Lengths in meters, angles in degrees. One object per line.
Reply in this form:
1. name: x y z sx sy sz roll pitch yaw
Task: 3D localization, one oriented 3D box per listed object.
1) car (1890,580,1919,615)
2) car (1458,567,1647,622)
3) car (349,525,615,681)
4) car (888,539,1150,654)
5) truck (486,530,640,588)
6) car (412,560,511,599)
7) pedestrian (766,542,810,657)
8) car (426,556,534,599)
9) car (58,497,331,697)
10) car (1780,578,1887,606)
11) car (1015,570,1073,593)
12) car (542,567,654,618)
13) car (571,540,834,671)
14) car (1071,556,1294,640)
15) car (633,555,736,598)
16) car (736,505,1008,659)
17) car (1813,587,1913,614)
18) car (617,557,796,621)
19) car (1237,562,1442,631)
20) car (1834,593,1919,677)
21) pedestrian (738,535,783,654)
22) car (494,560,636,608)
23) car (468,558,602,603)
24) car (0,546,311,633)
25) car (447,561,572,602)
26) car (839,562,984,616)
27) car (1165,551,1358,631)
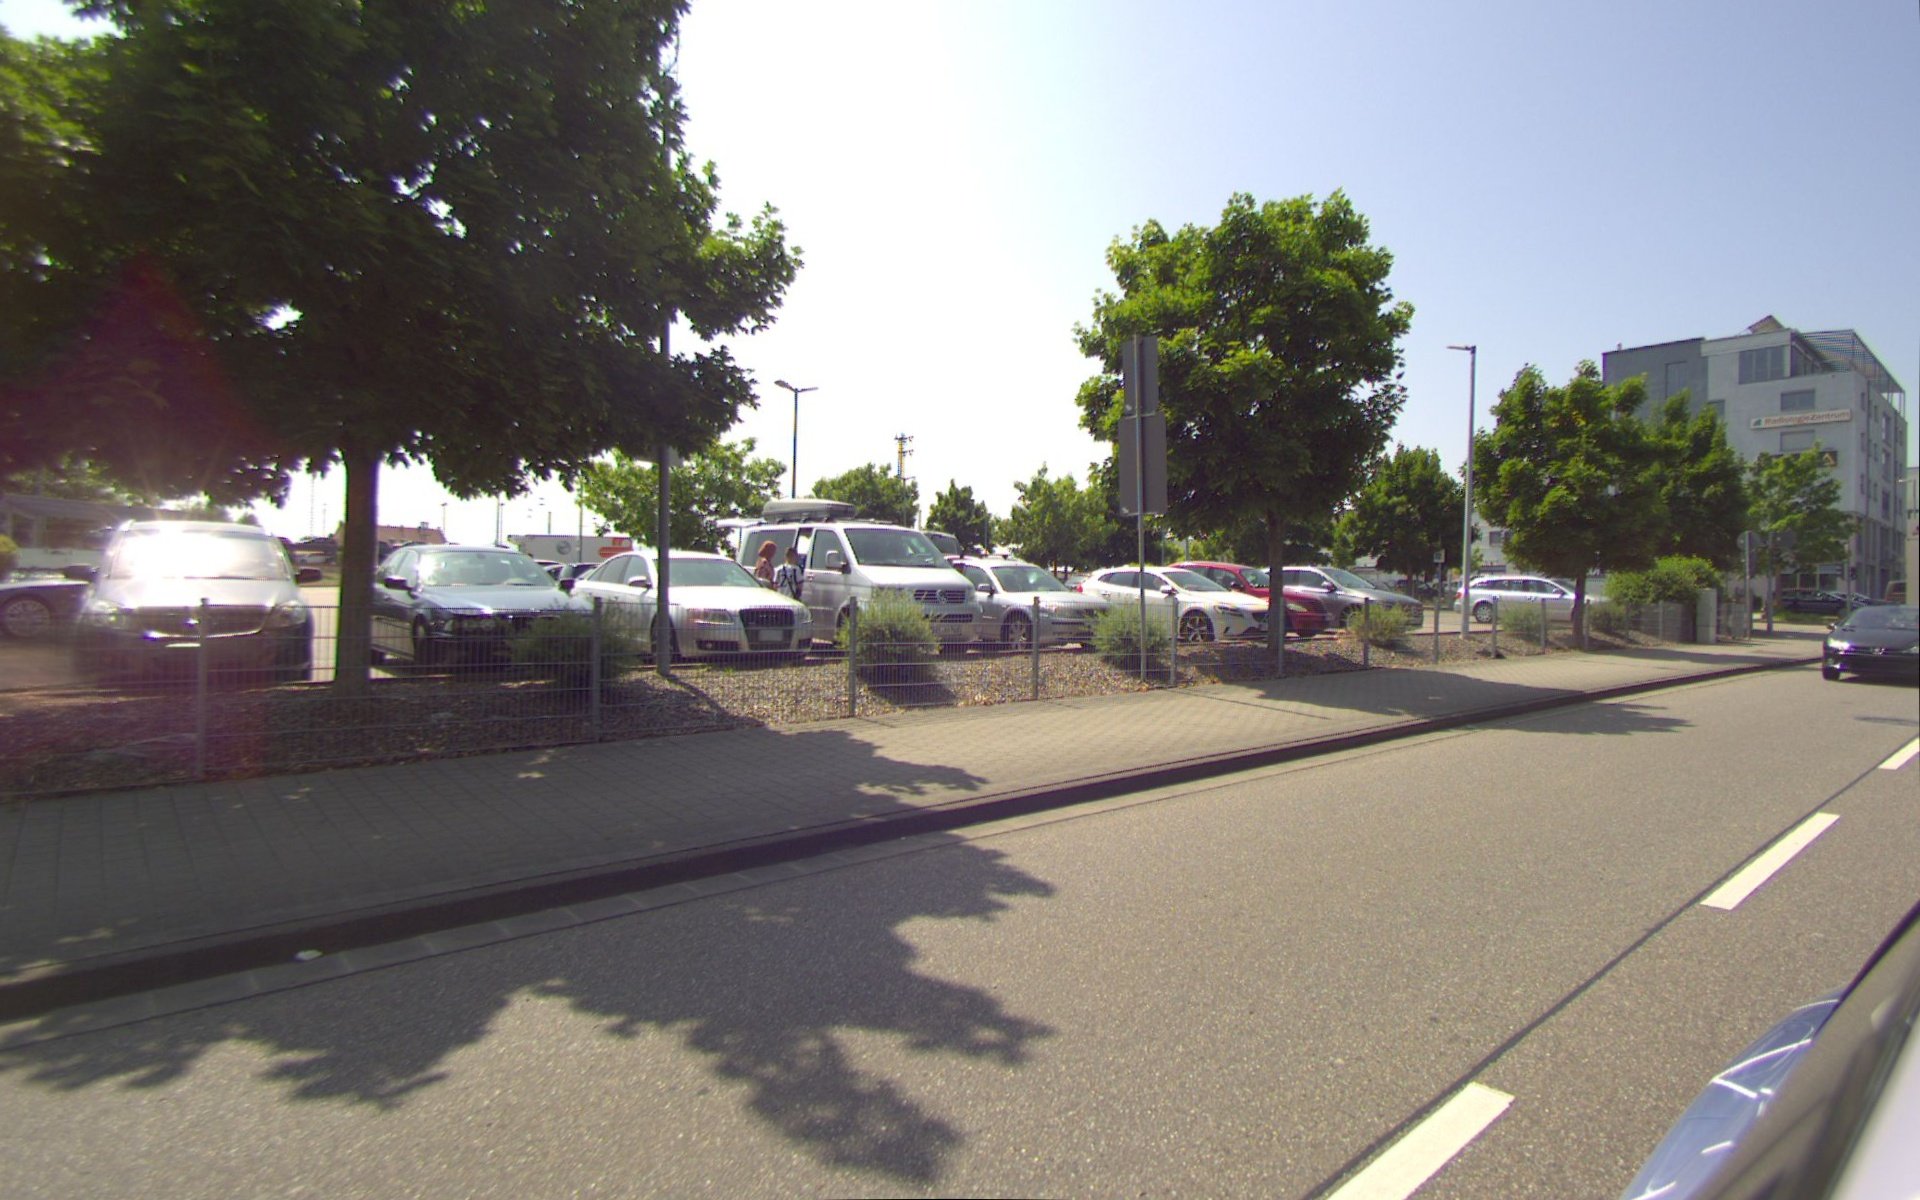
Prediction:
1. car: 53.253 -0.174 54.180 2.141 1.821 4.708 0 -2 -35
2. car: 17.517 -0.187 30.132 1.668 1.524 4.585 0 1 -40
3. car: -5.443 -0.001 11.240 1.794 1.407 3.996 0 1 -39
4. car: 0.814 -0.084 16.470 1.794 1.613 4.377 0 1 -39
5. truck: -28.312 -2.859 72.450 9.845 3.885 2.859 0 2 -37
6. car: -22.738 -0.910 46.183 3.785 1.705 1.786 0 1 -36
7. pedestrian: -2.364 -0.012 13.884 0.438 1.544 0.417 0 1 -36
8. car: -19.801 -0.916 41.808 3.785 1.705 1.786 0 1 -36
9. car: -7.550 -0.067 9.993 1.794 1.553 3.996 -1 2 -39
10. car: 45.490 -0.433 52.748 1.830 1.356 3.996 0 2 -40
11. car: 5.527 -1.191 66.403 3.548 1.407 1.789 0 2 -40
12. car: -10.857 -0.238 30.442 2.906 1.437 1.267 0 2 -41
13. car: -3.440 0.035 13.007 1.794 1.407 3.996 0 1 -39
14. car: 4.130 -0.058 19.312 1.667 1.439 4.005 0 1 -39
15. car: -11.586 -0.979 42.663 3.785 1.705 1.786 0 1 -36
16. car: -1.486 -0.261 15.185 1.794 1.949 4.627 0 0 -39
17. car: 49.164 -0.009 55.162 1.725 1.356 3.880 0 2 -40
18. car: -6.196 -0.273 24.945 3.930 1.437 1.732 0 2 -41
19. car: 8.586 -0.095 23.210 1.666 1.439 4.182 0 1 -37
20. car: 17.292 0.597 18.313 3.437 1.373 1.641 0 2 -39
21. pedestrian: -2.806 -0.089 14.209 0.439 1.635 0.416 0 1 -44
22. car: -12.872 -0.514 33.070 3.930 1.452 1.827 0 2 -41
23. car: -14.739 -0.665 35.165 3.930 1.452 1.827 0 2 -41
24. car: -14.937 -0.206 18.659 4.831 1.437 1.802 0 2 -40
25. car: -16.851 -0.680 37.943 3.930 1.452 1.827 0 2 -41
26. car: -1.336 -0.315 29.048 3.930 1.437 1.732 0 2 -41
27. car: 6.359 -0.199 21.595 1.693 1.556 3.595 0 0 -41
